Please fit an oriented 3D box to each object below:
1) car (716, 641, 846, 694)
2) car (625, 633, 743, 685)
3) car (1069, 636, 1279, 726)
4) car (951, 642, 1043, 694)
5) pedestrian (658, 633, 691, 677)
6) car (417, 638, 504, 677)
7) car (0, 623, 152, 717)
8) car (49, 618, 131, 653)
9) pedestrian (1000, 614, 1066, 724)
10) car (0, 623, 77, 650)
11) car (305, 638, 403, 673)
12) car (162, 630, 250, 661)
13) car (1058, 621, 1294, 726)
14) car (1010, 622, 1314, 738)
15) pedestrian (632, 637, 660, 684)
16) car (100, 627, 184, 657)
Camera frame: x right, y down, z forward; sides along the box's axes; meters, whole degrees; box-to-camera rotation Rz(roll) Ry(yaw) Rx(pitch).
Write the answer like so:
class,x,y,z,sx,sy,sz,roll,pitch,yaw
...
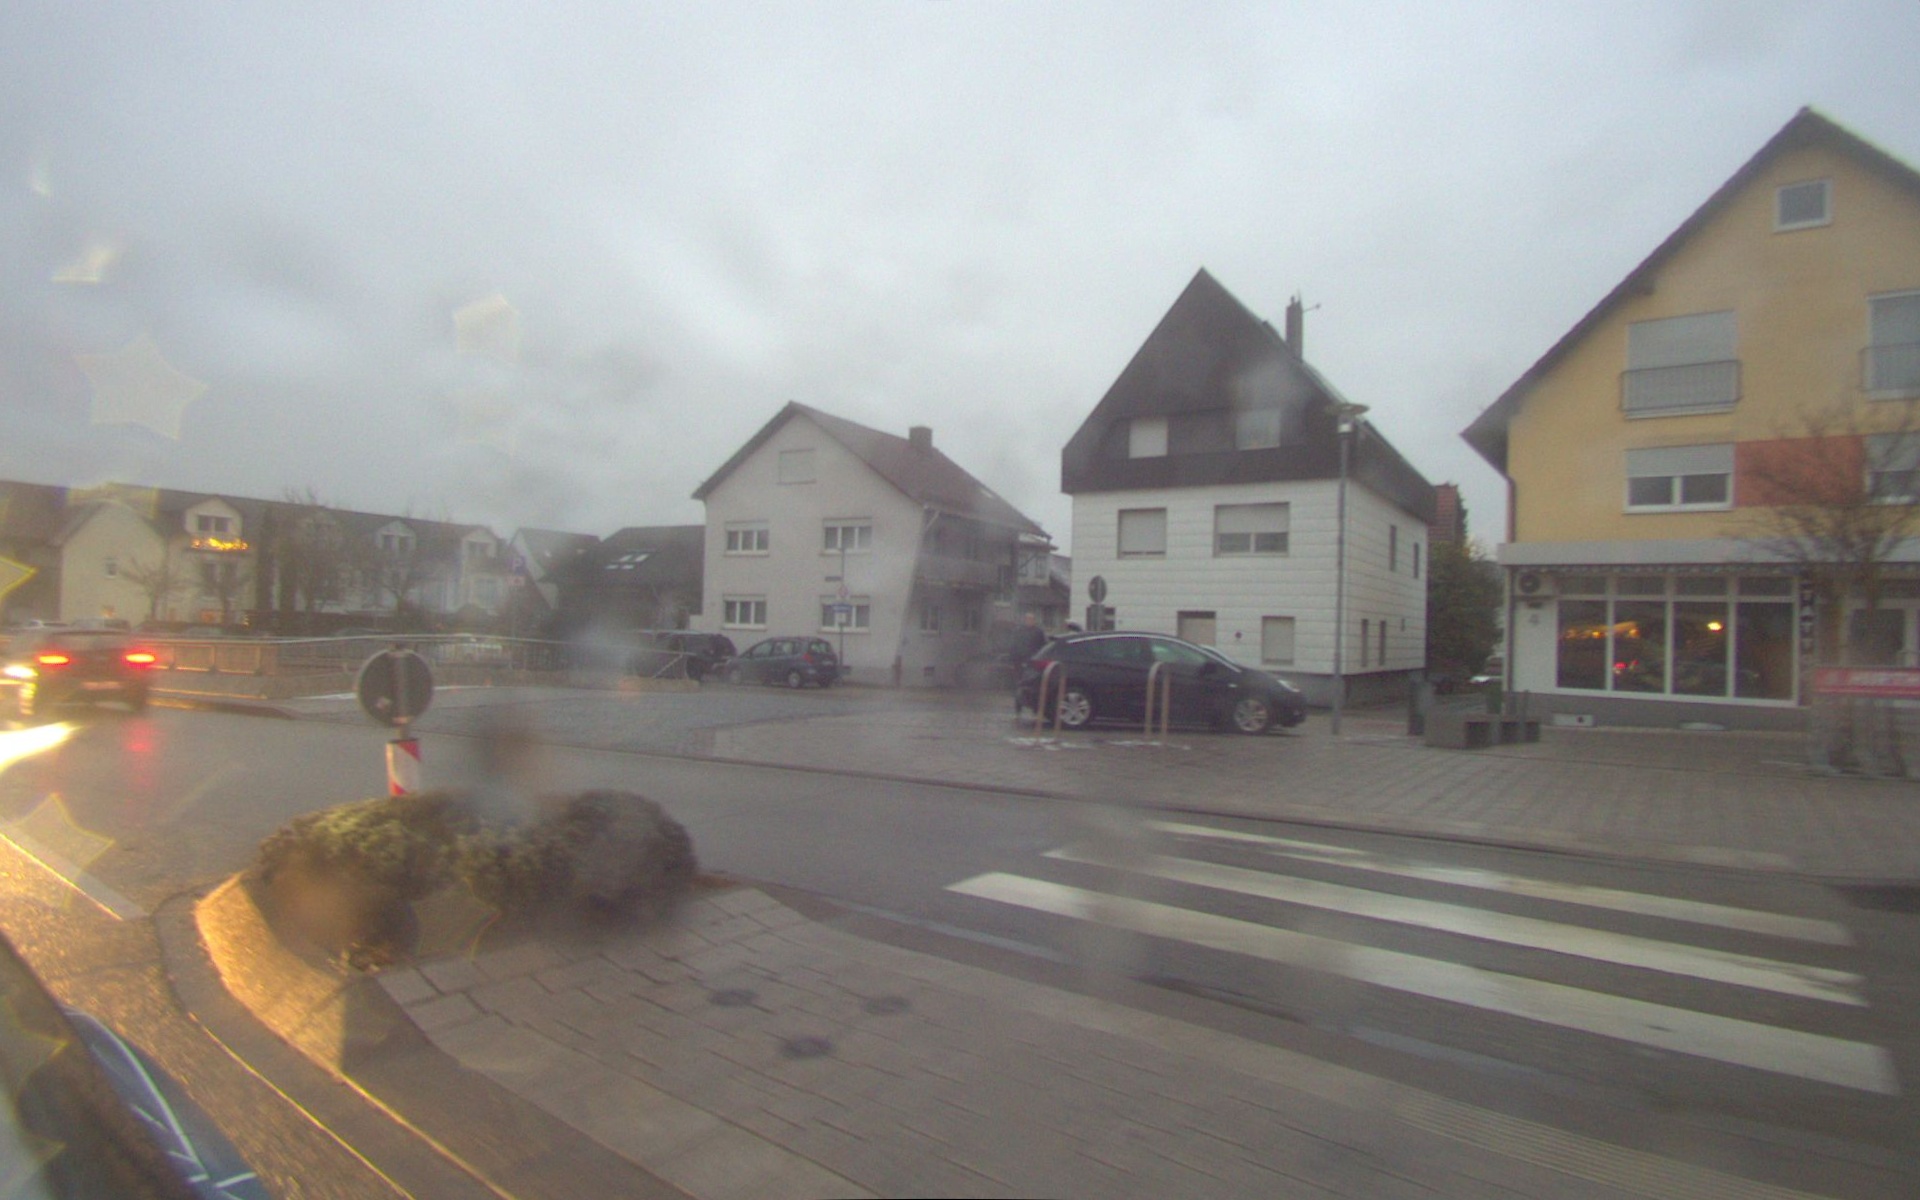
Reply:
class,x,y,z,sx,sy,sz,roll,pitch,yaw
car,-5.914,2.175,33.288,4.080,1.581,1.761,0,-2,32
car,-9.739,2.031,35.660,3.942,1.673,1.687,0,-2,29
car,4.191,1.619,20.352,3.953,1.644,1.760,1,-4,8
car,1.437,2.561,37.628,1.711,1.695,3.959,2,-4,30
pedestrian,-8.310,1.598,29.511,0.601,1.259,0.685,-1,-3,33
car,-20.923,2.367,42.355,3.487,1.520,1.465,0,-3,28
car,-15.260,1.130,17.266,3.360,1.422,1.490,-1,-2,37
car,-48.313,1.979,56.193,4.232,1.841,1.785,0,-3,25
pedestrian,1.187,1.122,16.450,0.827,1.725,0.726,2,-4,-18
car,-53.384,2.127,58.556,3.988,1.480,1.664,0,-5,21
car,-27.739,2.512,46.320,4.232,1.480,1.785,0,-3,25
car,-38.751,2.345,52.022,4.232,1.480,1.785,0,-3,25
car,3.726,1.305,18.025,3.846,1.683,1.838,1,-4,4
car,2.889,1.148,15.154,4.121,1.543,1.914,1,-2,0
pedestrian,-8.867,1.708,28.573,0.594,1.312,0.511,0,-2,0
car,-43.781,2.255,54.172,4.232,1.480,1.785,0,-3,25
